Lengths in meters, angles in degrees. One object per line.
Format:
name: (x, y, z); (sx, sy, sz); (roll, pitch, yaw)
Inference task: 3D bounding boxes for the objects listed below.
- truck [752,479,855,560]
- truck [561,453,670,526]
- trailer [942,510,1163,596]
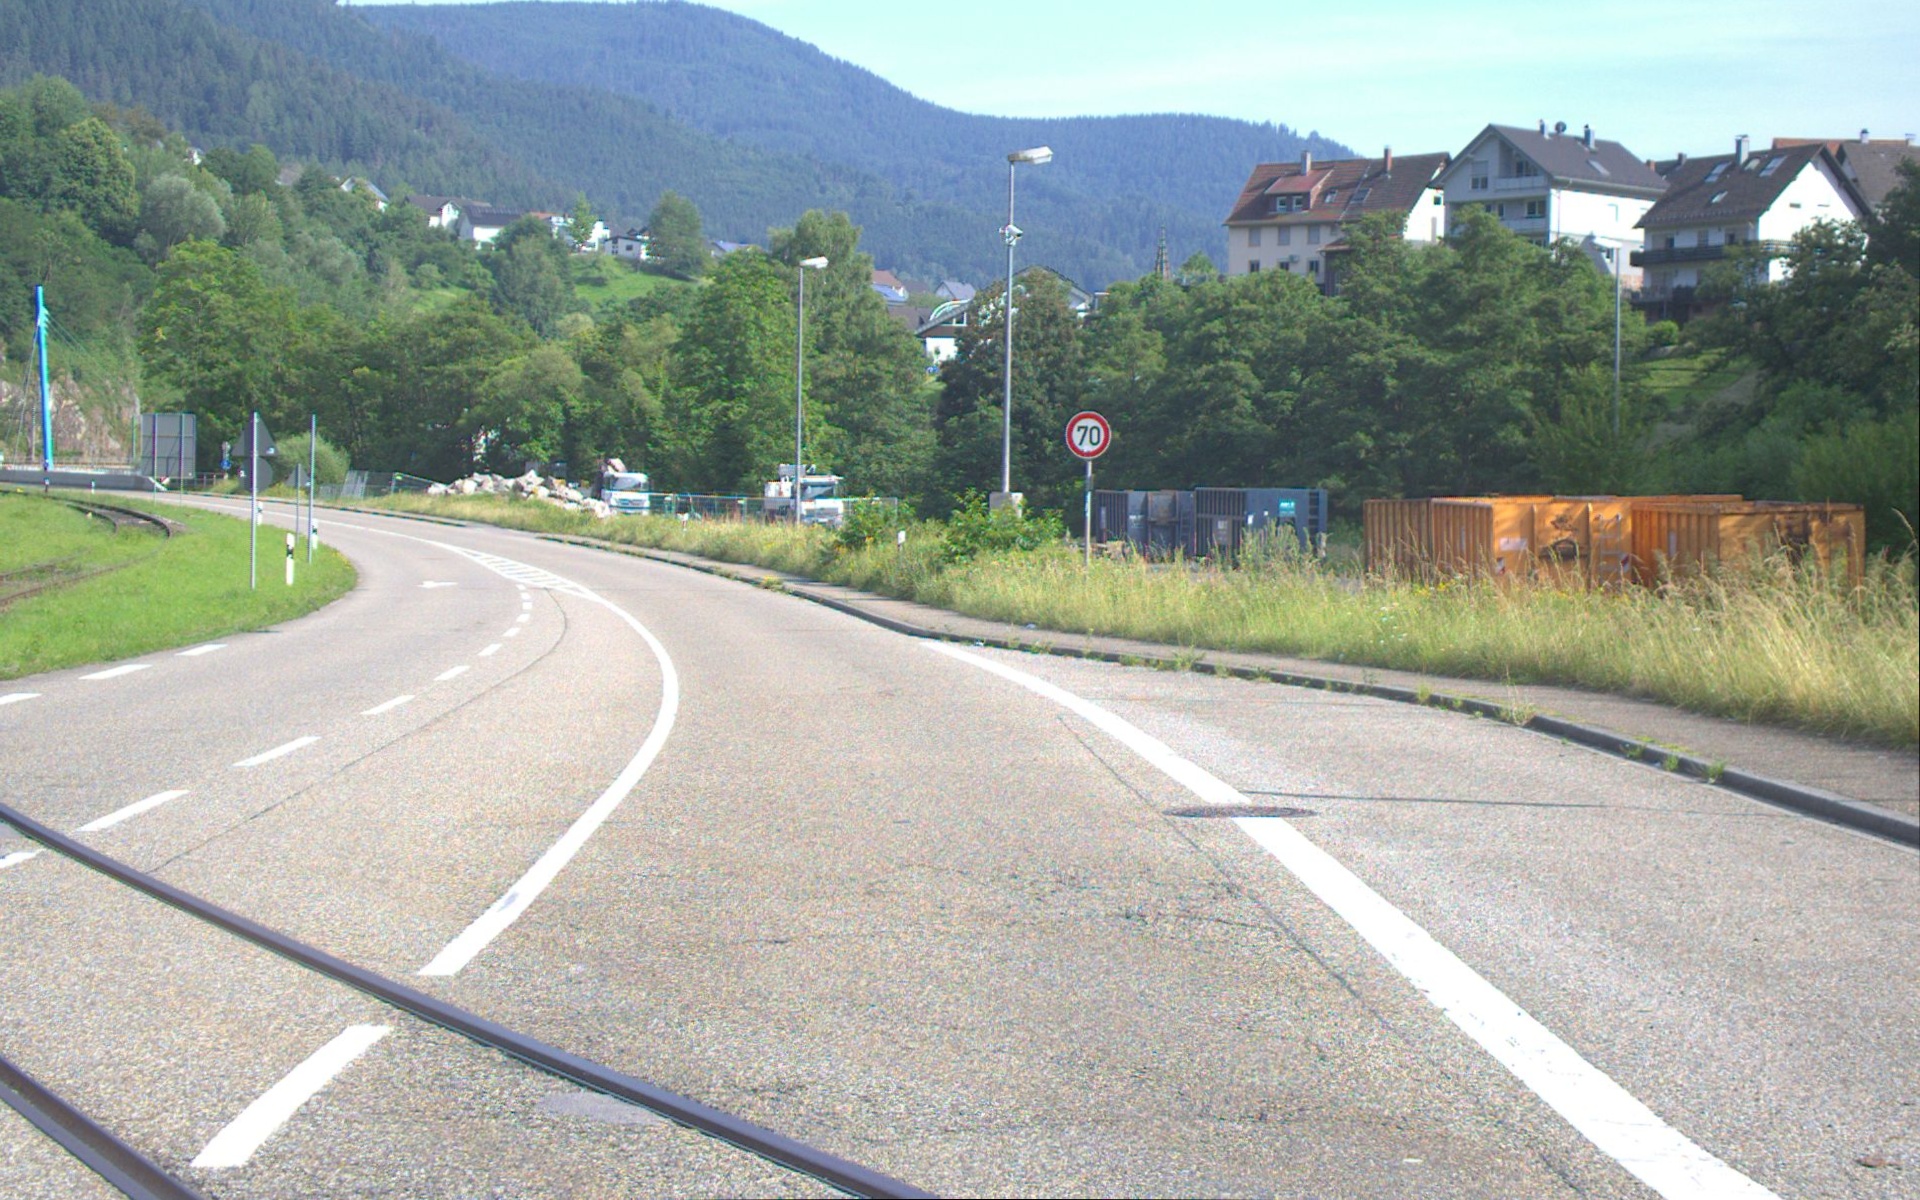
truck: (-7.868, -4.060, 171.529); (3.102, 3.769, 8.648); (2, 2, -16)
truck: (-18.848, -6.066, 187.608); (3.102, 3.769, 8.647); (2, 2, -25)
trailer: (1.862, -1.075, 74.496); (2.791, 1.469, 9.891); (3, 1, -10)
